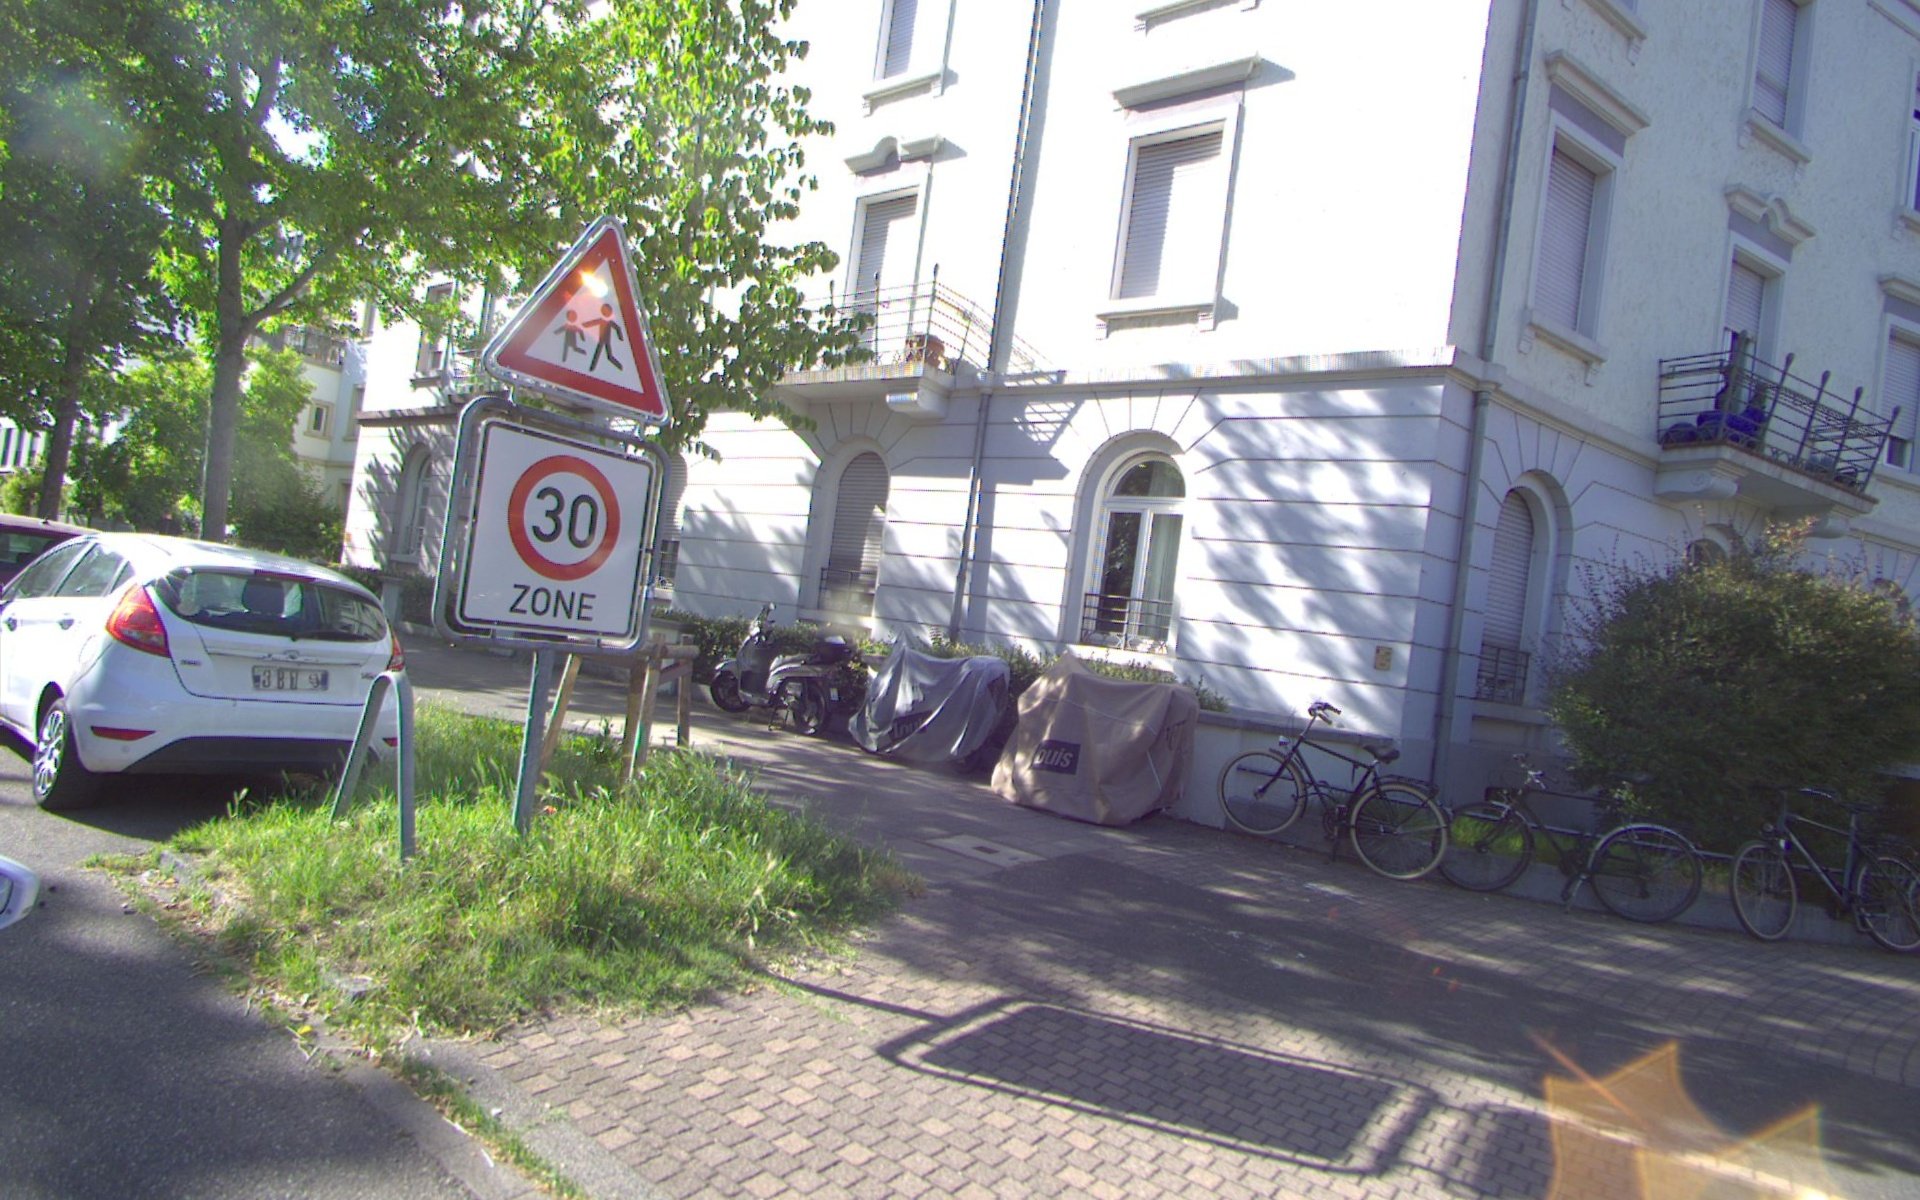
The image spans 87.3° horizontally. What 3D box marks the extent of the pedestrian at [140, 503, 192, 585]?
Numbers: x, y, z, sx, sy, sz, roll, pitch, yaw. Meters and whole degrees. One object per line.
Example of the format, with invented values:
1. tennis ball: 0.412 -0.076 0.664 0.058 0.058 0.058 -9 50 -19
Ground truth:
1. pedestrian: -18.465 -1.303 23.392 0.787 1.796 0.622 7 0 37

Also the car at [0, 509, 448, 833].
1. car: -5.224 0.269 6.483 4.072 1.418 1.654 6 -2 36

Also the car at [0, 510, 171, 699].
1. car: -9.125 -0.145 9.189 4.281 1.426 1.614 7 -2 33

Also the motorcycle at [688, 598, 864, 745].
1. motorcycle: -2.111 0.775 11.349 2.057 1.377 0.539 6 -2 37

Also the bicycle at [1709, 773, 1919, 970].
1. bicycle: 6.371 1.945 7.154 1.749 1.162 0.444 8 -1 -7

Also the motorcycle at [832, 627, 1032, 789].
1. motorcycle: -0.293 1.019 9.919 1.770 1.295 0.657 7 0 30

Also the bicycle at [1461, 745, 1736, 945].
1. bicycle: 4.554 1.728 7.248 1.542 1.116 0.352 6 -1 15

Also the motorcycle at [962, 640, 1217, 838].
1. motorcycle: 1.122 1.155 8.743 1.822 1.344 0.972 7 -2 32

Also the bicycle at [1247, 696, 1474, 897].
1. bicycle: 3.059 1.462 7.739 1.478 1.252 0.326 6 -1 30

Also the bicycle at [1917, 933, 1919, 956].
1. bicycle: 8.057 2.196 7.571 1.613 1.162 0.365 8 -1 -15

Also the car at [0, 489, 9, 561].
1. car: -14.577 -0.847 13.516 4.231 1.718 1.782 7 -2 36
